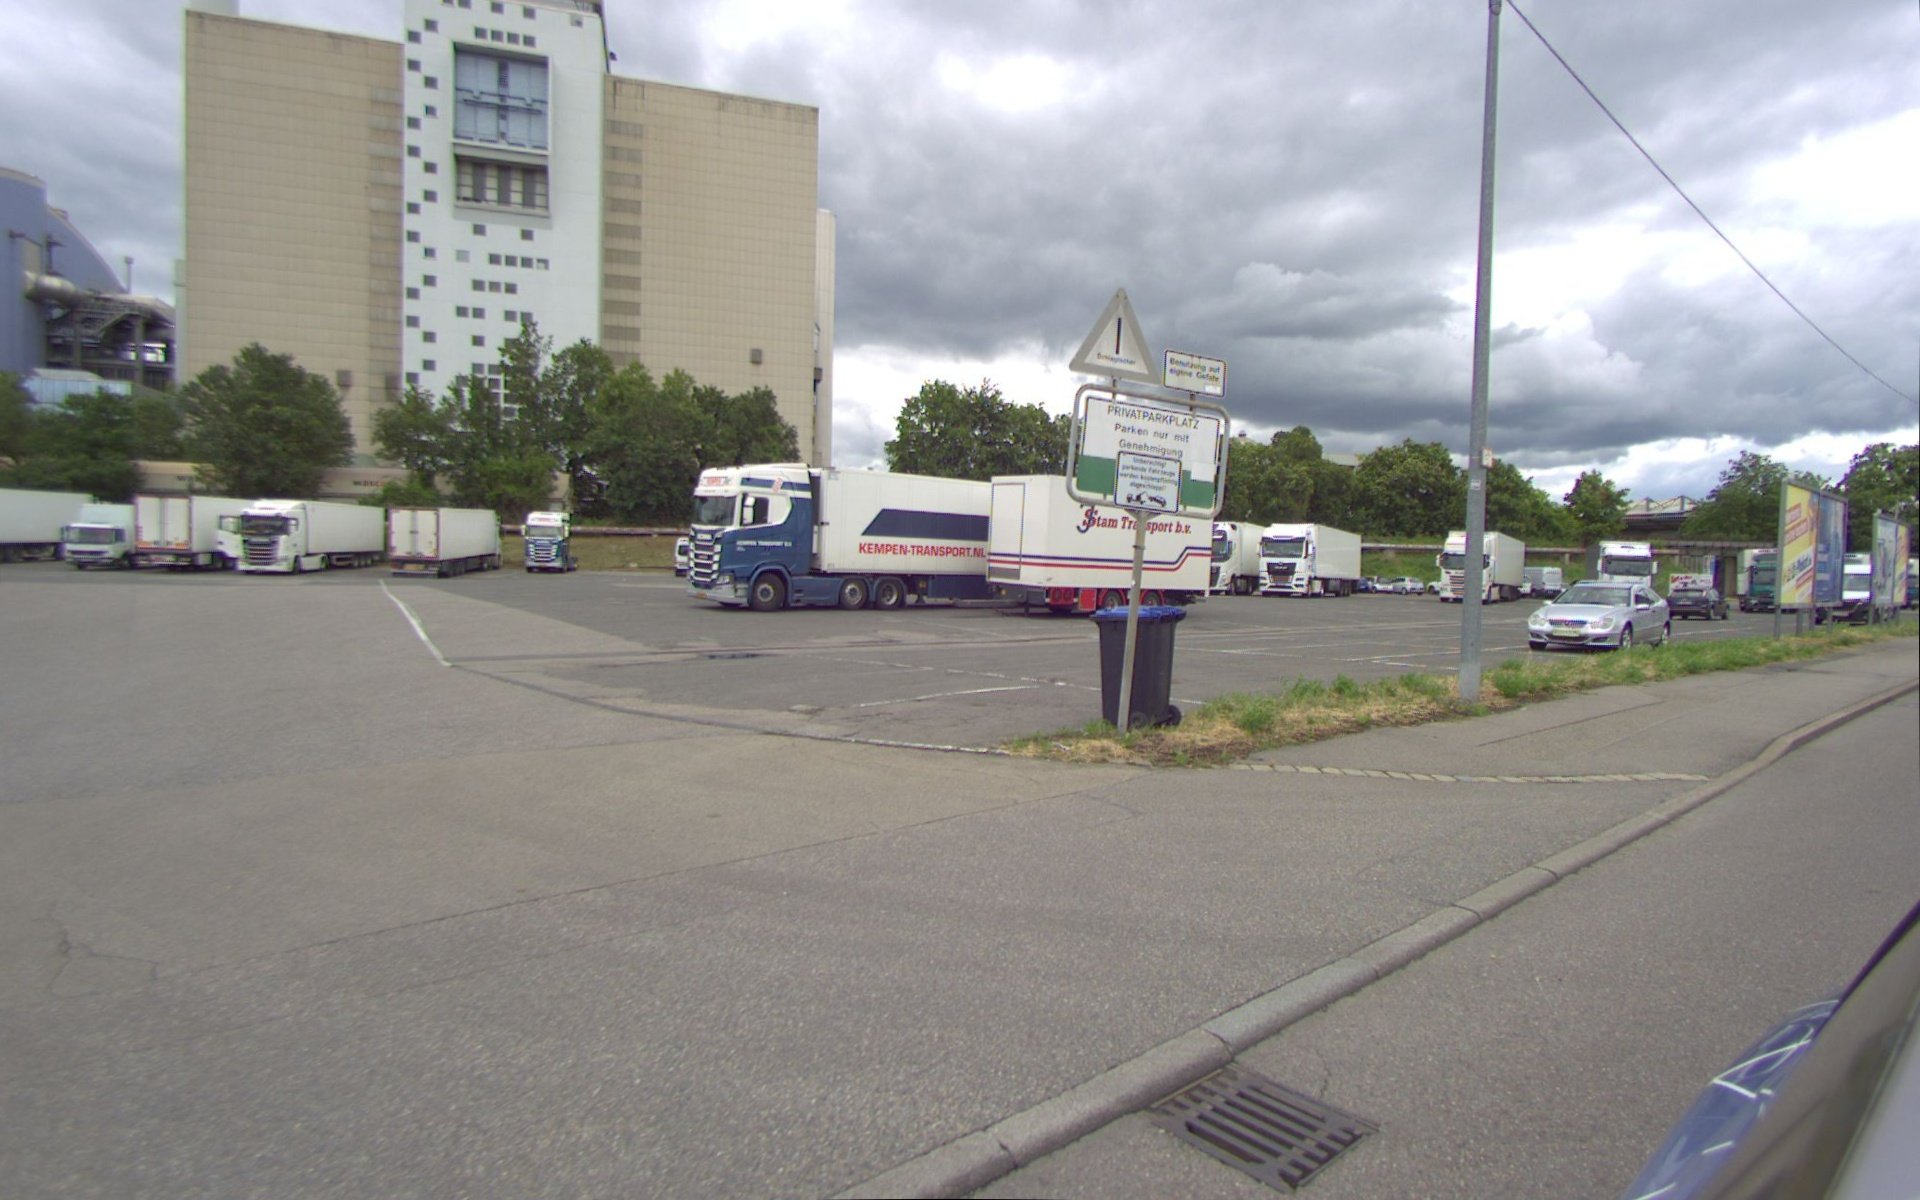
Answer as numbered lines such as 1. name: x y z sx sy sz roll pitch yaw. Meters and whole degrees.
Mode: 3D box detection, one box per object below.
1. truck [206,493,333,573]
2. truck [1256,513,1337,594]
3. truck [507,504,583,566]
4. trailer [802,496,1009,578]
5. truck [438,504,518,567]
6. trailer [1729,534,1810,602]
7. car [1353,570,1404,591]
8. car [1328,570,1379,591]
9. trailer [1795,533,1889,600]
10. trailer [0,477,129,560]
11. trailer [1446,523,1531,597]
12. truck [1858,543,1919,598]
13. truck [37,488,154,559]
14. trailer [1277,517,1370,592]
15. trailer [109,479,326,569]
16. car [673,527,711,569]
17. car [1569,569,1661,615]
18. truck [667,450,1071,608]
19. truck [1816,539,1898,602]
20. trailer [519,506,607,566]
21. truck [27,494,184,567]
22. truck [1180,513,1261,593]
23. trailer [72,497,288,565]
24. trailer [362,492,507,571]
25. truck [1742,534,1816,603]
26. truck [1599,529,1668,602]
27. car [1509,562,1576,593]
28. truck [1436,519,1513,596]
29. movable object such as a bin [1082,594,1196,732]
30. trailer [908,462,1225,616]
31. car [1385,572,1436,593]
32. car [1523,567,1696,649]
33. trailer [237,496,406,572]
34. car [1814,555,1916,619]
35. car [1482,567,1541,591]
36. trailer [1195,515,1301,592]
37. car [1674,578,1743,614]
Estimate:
1. truck: -38.852 -3.705 57.277 3.633 4.170 7.274 1 2 -14
2. truck: 18.746 -2.568 56.105 2.597 4.144 6.680 4 3 32
3. truck: -28.657 -4.438 70.247 3.634 4.013 7.273 1 2 -12
4. trailer: -2.519 -3.246 55.348 3.621 3.958 13.563 3 3 35
5. truck: -34.684 -4.568 73.134 3.634 4.224 7.274 1 2 -13
6. trailer: 54.603 -2.187 68.593 2.821 4.144 13.238 4 3 33
7. car: 35.559 -1.703 86.167 1.958 1.628 4.230 1 3 -11
8. car: 33.140 -1.676 85.378 1.958 1.628 4.230 1 3 -11
9. trailer: 59.924 -2.284 69.107 2.821 4.144 13.238 4 3 33
10. trailer: -55.549 -4.638 59.250 3.484 4.555 18.336 0 2 -16
11. trailer: 33.300 -2.451 63.407 2.823 4.144 13.228 4 3 35
12. truck: 68.514 -2.162 73.820 2.808 3.757 9.004 2 2 31
13. truck: -58.039 -5.025 68.209 3.474 4.487 6.670 0 2 -16
14. trailer: 22.481 -2.747 62.071 2.597 4.144 12.303 4 3 32
15. trailer: -43.924 -4.305 61.213 3.484 4.555 18.333 0 2 -13
16. car: -18.939 -3.668 71.657 2.064 2.871 5.097 1 2 -9
17. car: 23.651 -0.308 36.491 3.930 1.590 1.768 -1 1 -41
18. truck: -2.224 -1.996 31.018 12.840 4.014 3.082 -1 5 -41
19. truck: 56.432 -1.907 63.852 2.856 3.674 6.674 4 3 34
20. trailer: -30.666 -4.847 79.160 3.566 4.007 18.545 1 2 -13
21. truck: -46.649 -3.729 55.618 3.634 3.601 7.274 1 2 -13
22. truck: 14.409 -2.594 55.801 2.597 4.144 5.591 4 3 32
23. trailer: -48.730 -4.193 64.535 3.566 3.589 18.546 1 2 -13
24. trailer: -32.563 -4.131 64.014 3.566 4.223 18.545 1 2 -13
25. truck: 51.279 -1.989 63.539 2.856 4.062 6.674 4 3 34
26. truck: 40.993 -2.106 61.807 2.851 4.144 6.687 3 3 30
27. car: 50.248 -1.985 87.406 2.322 2.479 4.930 1 2 -9
28. truck: 29.795 -2.443 58.464 2.858 4.144 6.671 4 3 35
29. movable object such as a bin: 1.547 0.515 8.744 0.714 1.094 0.652 3 2 43
30. trailer: 3.512 -1.739 30.687 10.215 4.014 2.967 -1 4 -38
31. car: 37.984 -1.470 85.365 1.958 1.628 4.009 1 3 -11
32. car: 13.536 0.106 20.980 4.480 1.482 1.777 -1 3 -41
33. trailer: -41.006 -4.150 66.234 3.566 4.139 18.546 1 2 -13
34. car: 36.836 -0.566 41.140 5.974 2.445 2.091 -1 3 -39
35. car: 47.436 -1.801 87.173 1.959 1.915 4.730 1 2 -9
36. trailer: 17.536 -2.727 60.841 2.597 4.144 12.303 4 3 32
37. car: 33.404 -0.192 45.120 3.980 1.513 1.497 -1 3 -39
